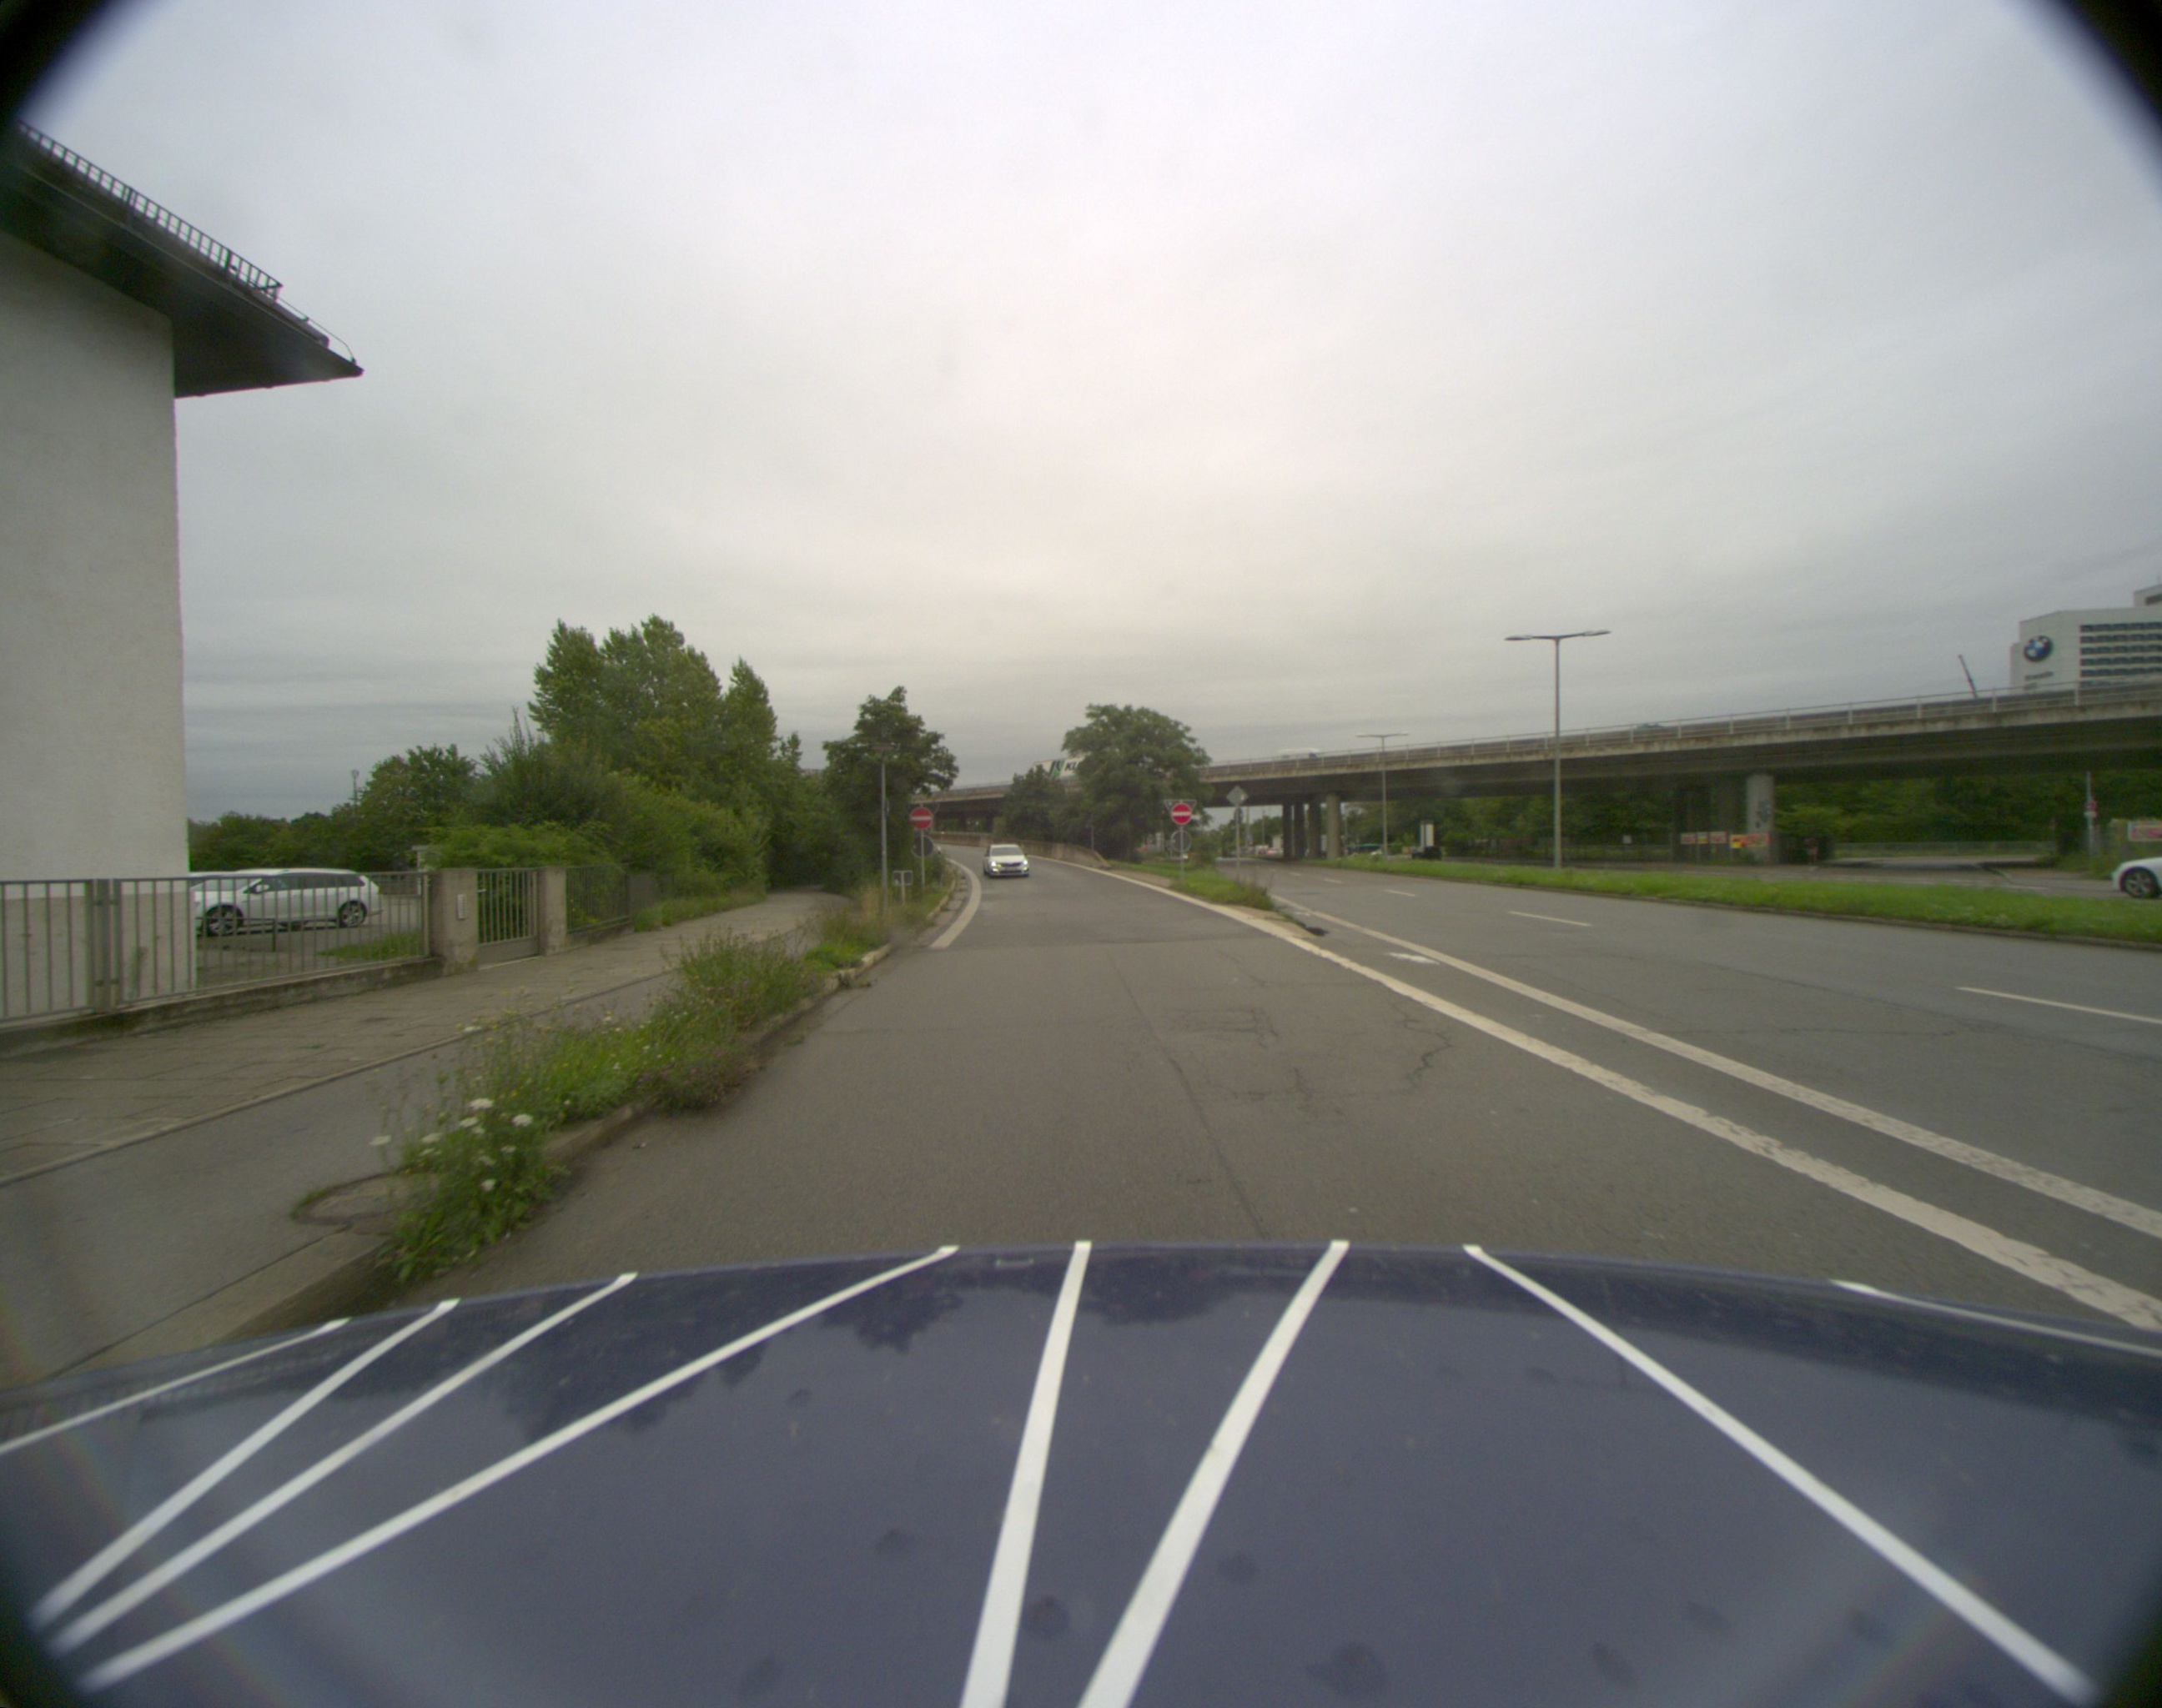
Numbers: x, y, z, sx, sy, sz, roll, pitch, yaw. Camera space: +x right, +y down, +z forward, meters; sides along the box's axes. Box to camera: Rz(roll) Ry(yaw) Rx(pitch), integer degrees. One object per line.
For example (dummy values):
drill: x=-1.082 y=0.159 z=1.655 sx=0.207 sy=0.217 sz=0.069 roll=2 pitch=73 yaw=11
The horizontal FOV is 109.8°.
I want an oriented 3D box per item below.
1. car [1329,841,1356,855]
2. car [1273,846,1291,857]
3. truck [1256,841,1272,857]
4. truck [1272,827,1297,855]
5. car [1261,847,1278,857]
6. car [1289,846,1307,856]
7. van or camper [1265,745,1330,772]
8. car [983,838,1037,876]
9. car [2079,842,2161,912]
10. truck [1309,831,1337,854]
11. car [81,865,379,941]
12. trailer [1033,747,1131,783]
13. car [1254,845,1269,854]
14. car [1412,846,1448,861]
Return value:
car: x=31.434 y=-0.693 z=91.440 sx=1.973 sy=1.574 sz=4.592 roll=2 pitch=1 yaw=5
car: x=30.885 y=-0.442 z=116.630 sx=1.973 sy=1.574 sz=4.592 roll=2 pitch=1 yaw=7
truck: x=43.079 y=-1.275 z=178.690 sx=2.795 sy=3.659 sz=6.646 roll=2 pitch=1 yaw=7
truck: x=36.118 y=-2.320 z=135.220 sx=2.795 sy=4.566 sz=9.605 roll=2 pitch=1 yaw=7
car: x=31.894 y=-0.299 z=128.801 sx=1.973 sy=1.574 sz=4.592 roll=2 pitch=1 yaw=5
car: x=34.590 y=-0.499 z=121.152 sx=1.972 sy=1.574 sz=4.593 roll=2 pitch=1 yaw=8
van or camper: x=20.276 y=-8.941 z=71.397 sx=2.336 sy=2.002 sz=5.491 roll=-2 pitch=2 yaw=-44
car: x=-3.337 y=0.097 z=34.982 sx=1.916 sy=1.440 sz=4.549 roll=-3 pitch=3 yaw=-12
car: x=25.028 y=0.527 z=15.872 sx=1.997 sy=1.563 sz=5.121 roll=0 pitch=1 yaw=8
truck: x=32.931 y=-1.539 z=103.685 sx=2.257 sy=2.960 sz=7.236 roll=2 pitch=1 yaw=7
car: x=-19.253 y=1.094 z=17.557 sx=1.877 sy=1.520 sz=4.254 roll=0 pitch=-3 yaw=5
trailer: x=-0.120 y=-10.495 z=91.010 sx=2.671 sy=3.280 sz=14.017 roll=-3 pitch=3 yaw=-44
car: x=32.452 y=-0.863 z=136.599 sx=1.973 sy=1.574 sz=4.592 roll=-2 pitch=1 yaw=5
car: x=34.525 y=-0.049 z=75.292 sx=1.972 sy=1.389 sz=4.819 roll=1 pitch=1 yaw=9
